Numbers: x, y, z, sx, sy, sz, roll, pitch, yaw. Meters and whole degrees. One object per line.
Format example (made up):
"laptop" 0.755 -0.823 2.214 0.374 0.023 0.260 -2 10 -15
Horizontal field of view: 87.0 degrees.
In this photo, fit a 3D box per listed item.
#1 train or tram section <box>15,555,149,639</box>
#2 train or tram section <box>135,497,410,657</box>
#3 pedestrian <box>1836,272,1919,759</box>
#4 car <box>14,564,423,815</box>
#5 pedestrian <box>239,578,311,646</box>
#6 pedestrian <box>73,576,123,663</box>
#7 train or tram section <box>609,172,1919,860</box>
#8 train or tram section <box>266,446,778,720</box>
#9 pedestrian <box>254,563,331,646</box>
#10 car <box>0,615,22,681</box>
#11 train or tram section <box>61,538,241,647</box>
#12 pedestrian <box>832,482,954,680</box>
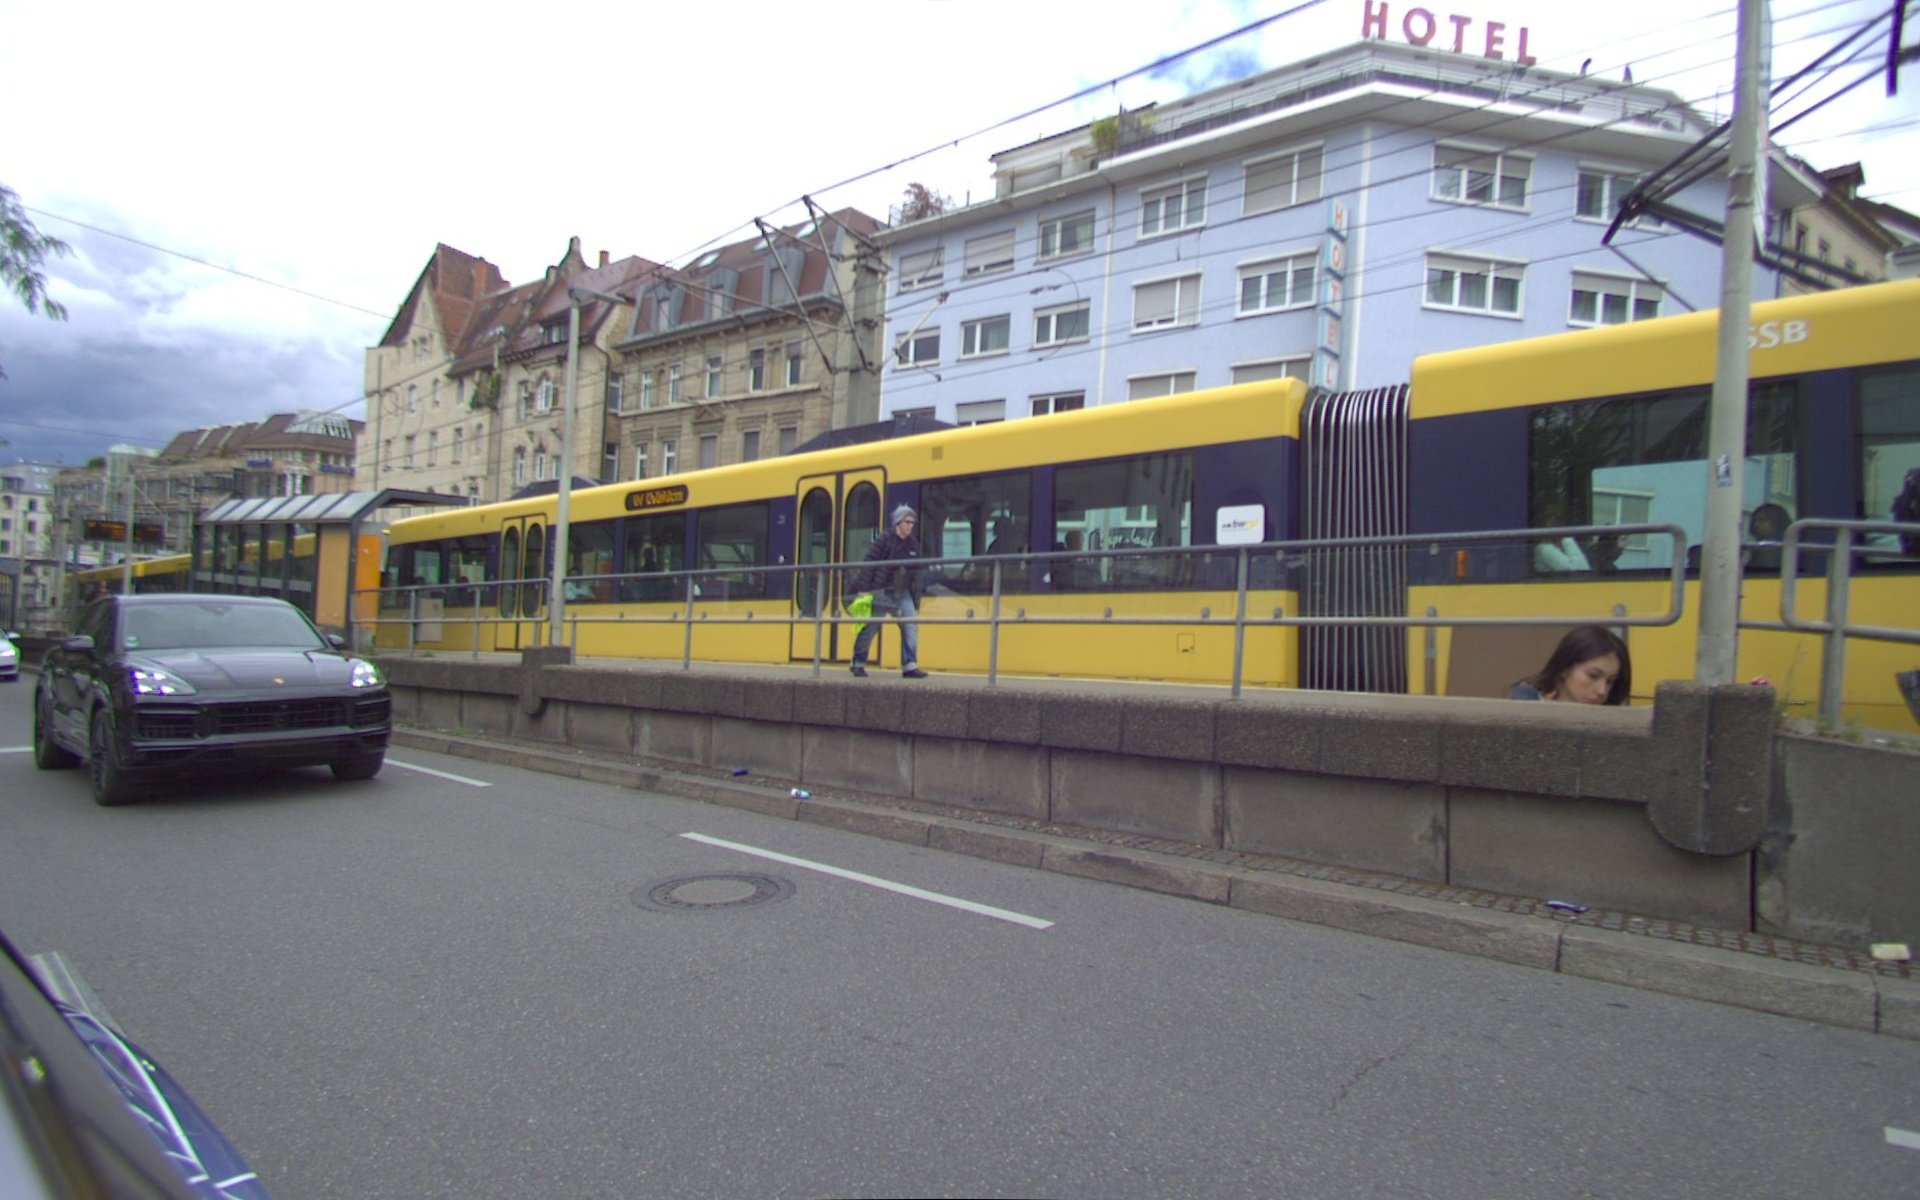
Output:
"train or tram section" -41.322 -0.004 47.351 14.223 3.445 2.851 -1 -1 41
"train or tram section" -19.891 -0.422 28.563 14.223 3.586 2.892 -1 -2 41
"pedestrian" 4.496 -0.315 4.199 1.233 1.984 0.920 3 -1 41
"car" -6.909 0.663 9.208 4.779 1.698 2.006 -1 -2 41
"pedestrian" -12.084 0.222 17.859 0.778 1.151 0.841 -1 -4 42
"pedestrian" -23.174 0.539 27.220 0.772 2.302 0.827 -1 -3 41
"train or tram section" 1.648 -0.348 10.212 14.218 3.692 2.852 -1 -3 40
"train or tram section" -9.215 -0.126 19.285 14.218 3.692 2.852 -1 -2 40
"pedestrian" -11.149 0.093 16.902 0.778 1.316 0.841 -1 -4 42
"car" -23.733 1.087 23.870 4.529 1.486 1.872 -1 -2 41
"train or tram section" -30.644 -0.125 37.934 14.223 3.467 2.851 -1 -1 41
"pedestrian" -0.568 -0.135 8.650 0.665 1.596 0.770 -1 -3 41
